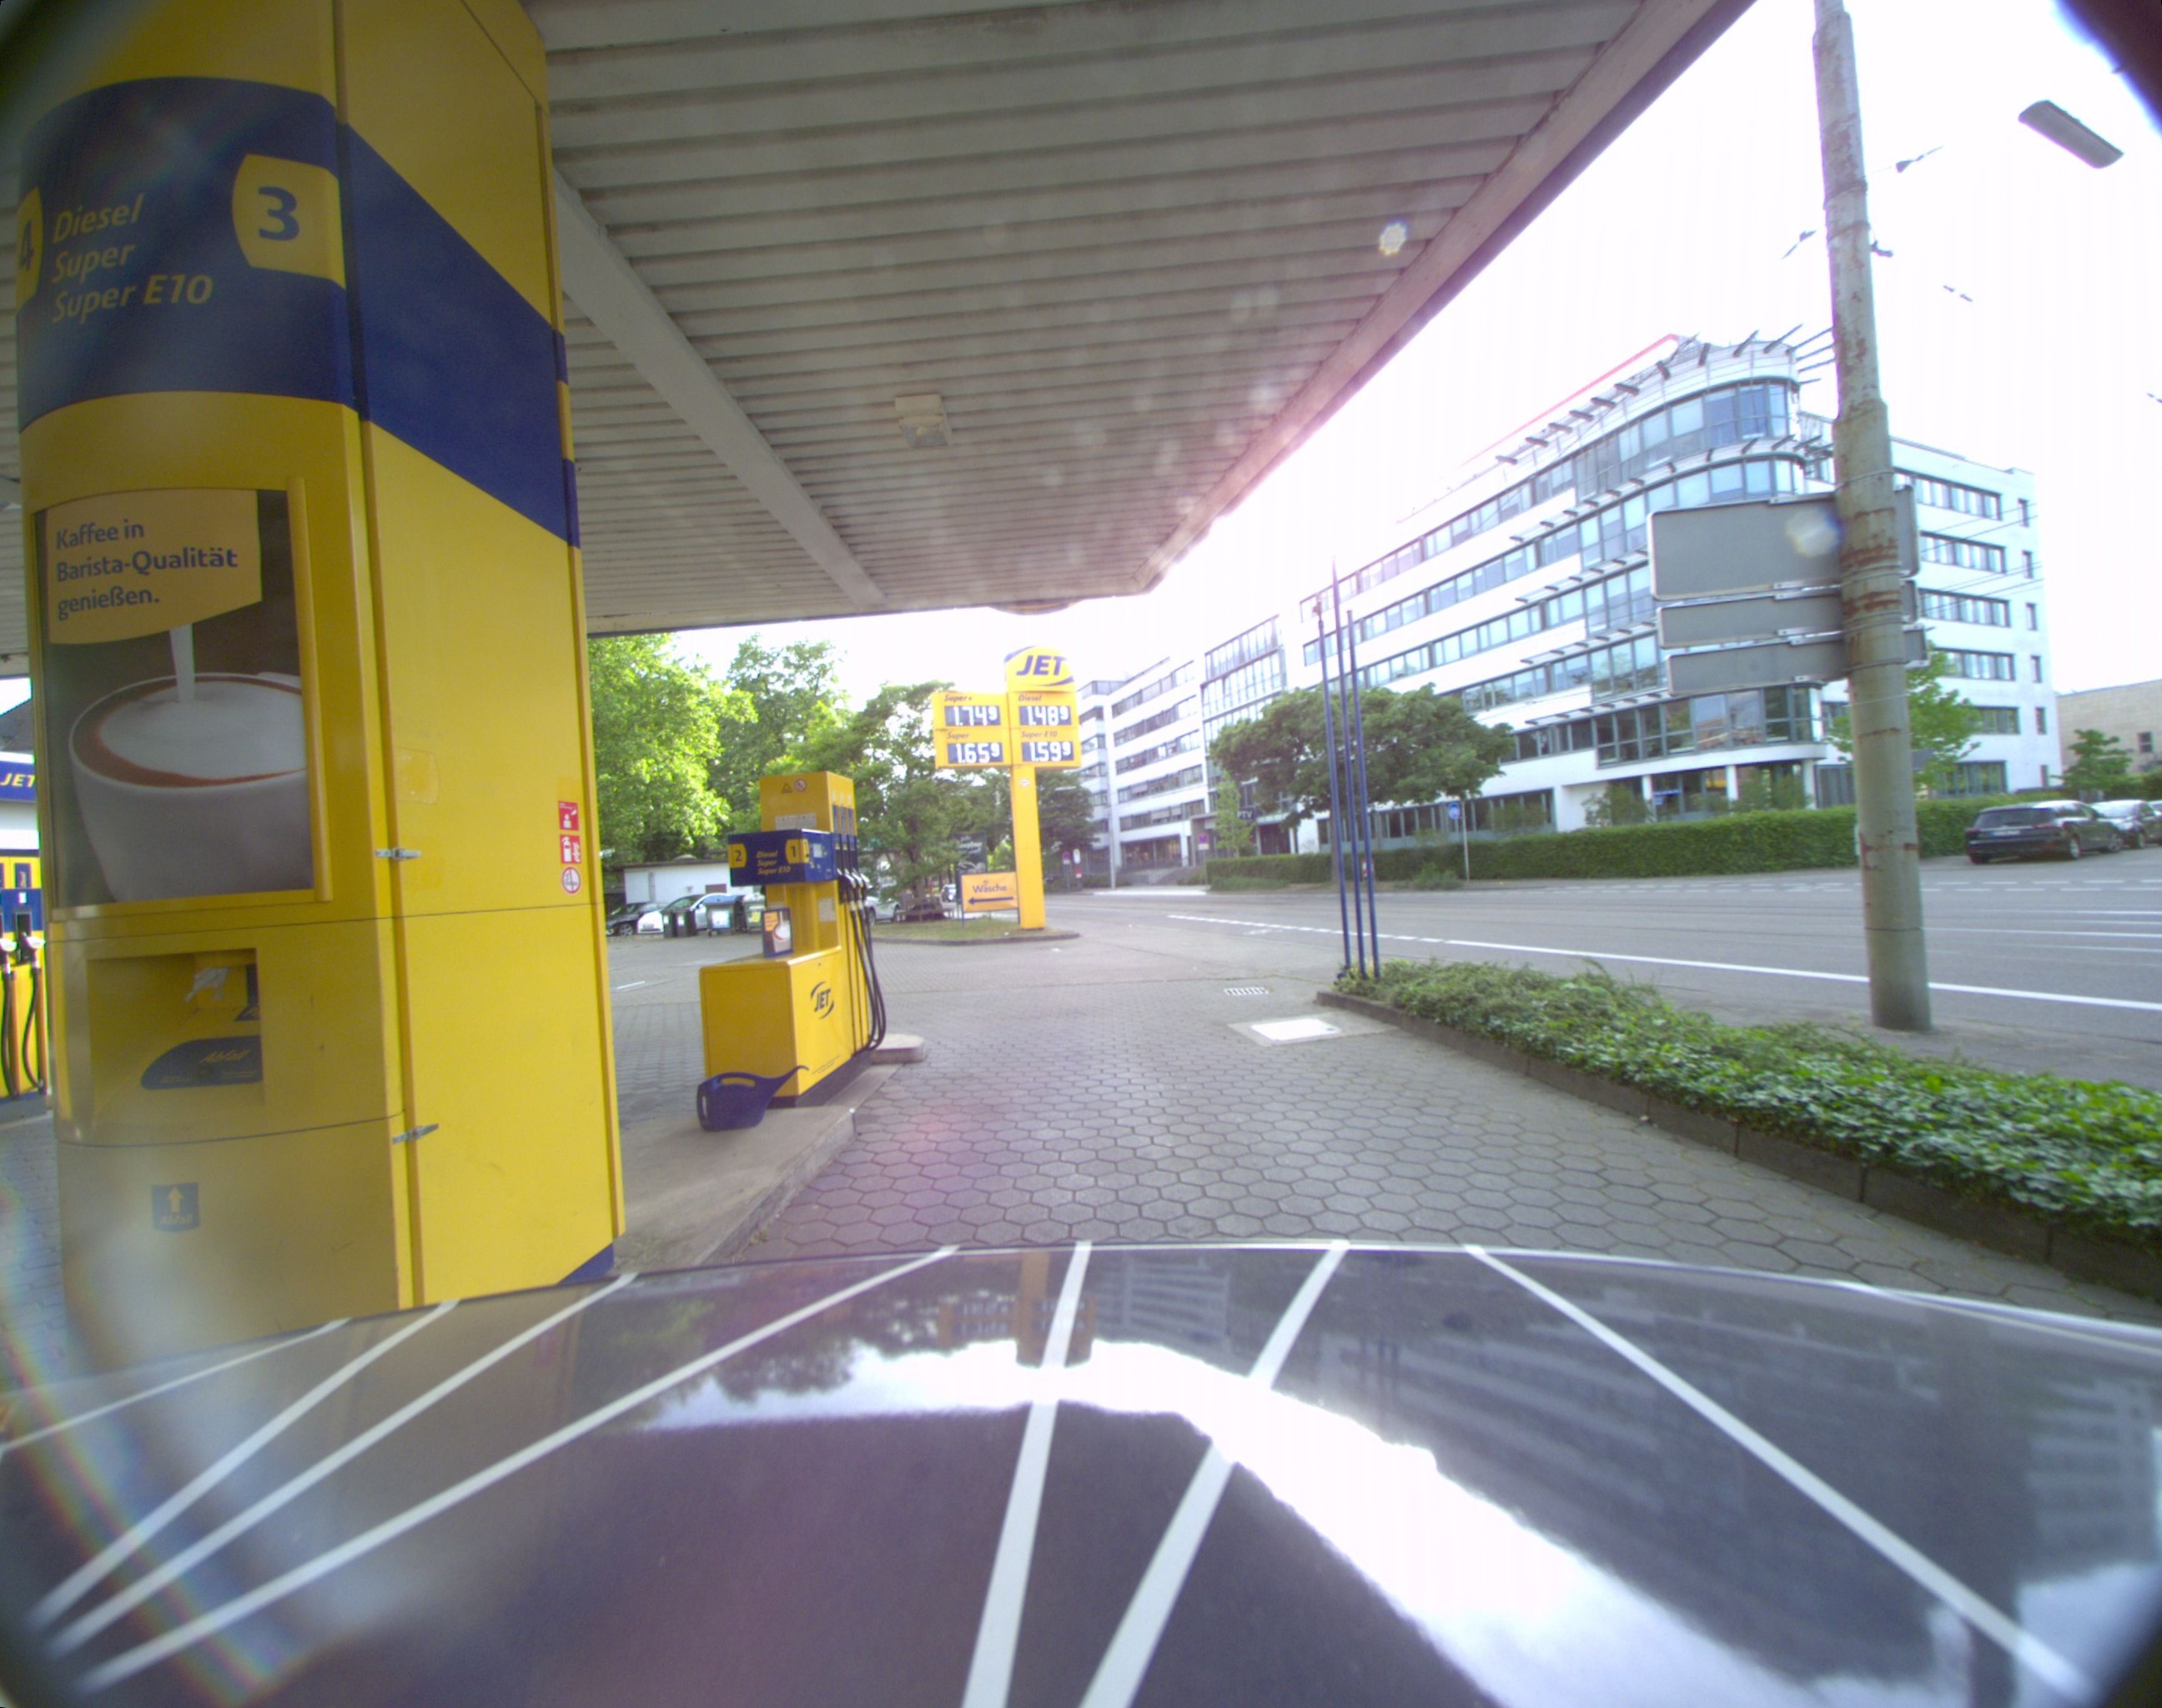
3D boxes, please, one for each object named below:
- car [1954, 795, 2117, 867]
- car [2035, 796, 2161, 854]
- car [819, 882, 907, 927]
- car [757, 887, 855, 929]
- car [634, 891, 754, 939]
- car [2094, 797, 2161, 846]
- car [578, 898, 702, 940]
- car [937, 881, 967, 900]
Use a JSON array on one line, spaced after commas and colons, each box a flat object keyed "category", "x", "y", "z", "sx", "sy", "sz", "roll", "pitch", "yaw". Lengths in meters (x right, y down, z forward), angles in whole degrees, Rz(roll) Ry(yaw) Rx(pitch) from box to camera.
[{"category": "car", "x": 27.269, "y": -0.665, "z": 21.699, "sx": 4.296, "sy": 1.681, "sz": 2.010, "roll": -4, "pitch": -1, "yaw": -27}, {"category": "car", "x": 32.540, "y": -0.942, "z": 24.100, "sx": 4.296, "sy": 1.530, "sz": 1.945, "roll": -4, "pitch": -1, "yaw": -27}, {"category": "car", "x": -8.640, "y": 2.004, "z": 30.514, "sx": 1.772, "sy": 1.591, "sz": 4.398, "roll": -4, "pitch": -4, "yaw": 6}, {"category": "car", "x": -11.658, "y": 2.269, "z": 32.505, "sx": 1.771, "sy": 1.591, "sz": 4.400, "roll": -4, "pitch": -4, "yaw": 13}, {"category": "car", "x": -15.296, "y": 2.368, "z": 30.327, "sx": 1.771, "sy": 1.591, "sz": 4.398, "roll": -2, "pitch": -1, "yaw": 14}, {"category": "car", "x": 37.123, "y": -1.199, "z": 26.152, "sx": 4.296, "sy": 1.509, "sz": 1.945, "roll": -4, "pitch": -1, "yaw": -27}, {"category": "car", "x": -17.798, "y": 2.593, "z": 30.921, "sx": 1.771, "sy": 1.367, "sz": 4.398, "roll": -2, "pitch": -1, "yaw": 14}, {"category": "car", "x": -10.811, "y": 3.043, "z": 63.646, "sx": 1.691, "sy": 1.424, "sz": 3.422, "roll": -4, "pitch": -1, "yaw": -23}]
